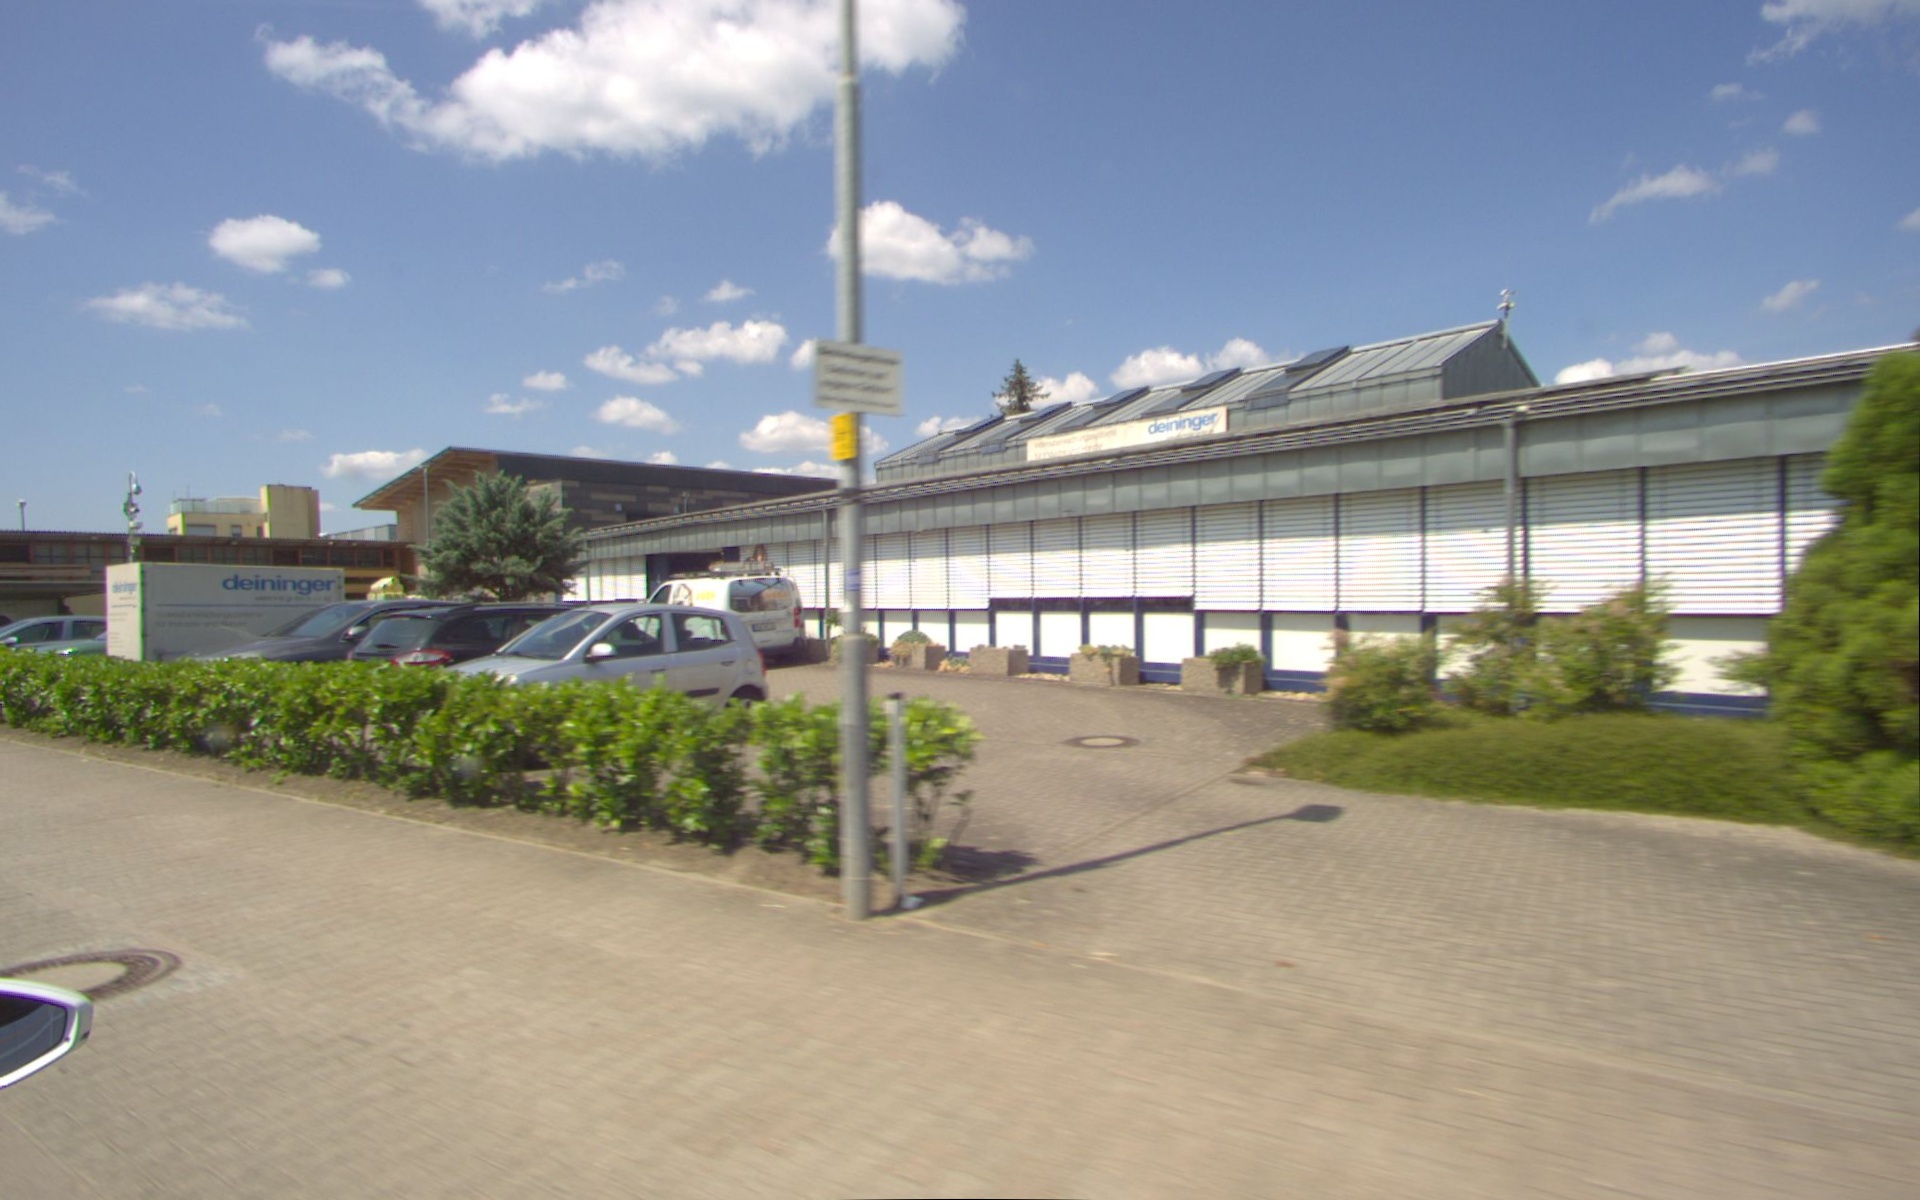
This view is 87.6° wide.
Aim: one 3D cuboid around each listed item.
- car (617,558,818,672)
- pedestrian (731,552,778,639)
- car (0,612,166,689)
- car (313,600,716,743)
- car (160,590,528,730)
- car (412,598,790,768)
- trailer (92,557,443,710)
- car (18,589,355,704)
[{"bbox_3d":[-5.315,0.278,21.601,2.085,2.154,4.670,-4,2,-44],"label":"car"},{"bbox_3d":[-4.788,-0.104,23.350,0.680,1.968,0.714,-2,1,32],"label":"pedestrian"},{"bbox_3d":[-18.944,0.997,20.525,1.792,1.475,3.835,0,0,34],"label":"car"},{"bbox_3d":[-5.325,0.737,12.641,1.788,1.459,4.468,0,0,30],"label":"car"},{"bbox_3d":[-8.337,0.727,13.968,1.688,1.595,4.029,-2,0,28],"label":"car"},{"bbox_3d":[-3.632,0.719,10.569,1.747,1.420,3.339,0,1,37],"label":"car"},{"bbox_3d":[-10.533,0.438,15.515,1.973,2.040,3.975,-2,0,34],"label":"trailer"},{"bbox_3d":[-13.127,0.719,17.279,1.775,1.655,4.202,-2,0,32],"label":"car"}]
